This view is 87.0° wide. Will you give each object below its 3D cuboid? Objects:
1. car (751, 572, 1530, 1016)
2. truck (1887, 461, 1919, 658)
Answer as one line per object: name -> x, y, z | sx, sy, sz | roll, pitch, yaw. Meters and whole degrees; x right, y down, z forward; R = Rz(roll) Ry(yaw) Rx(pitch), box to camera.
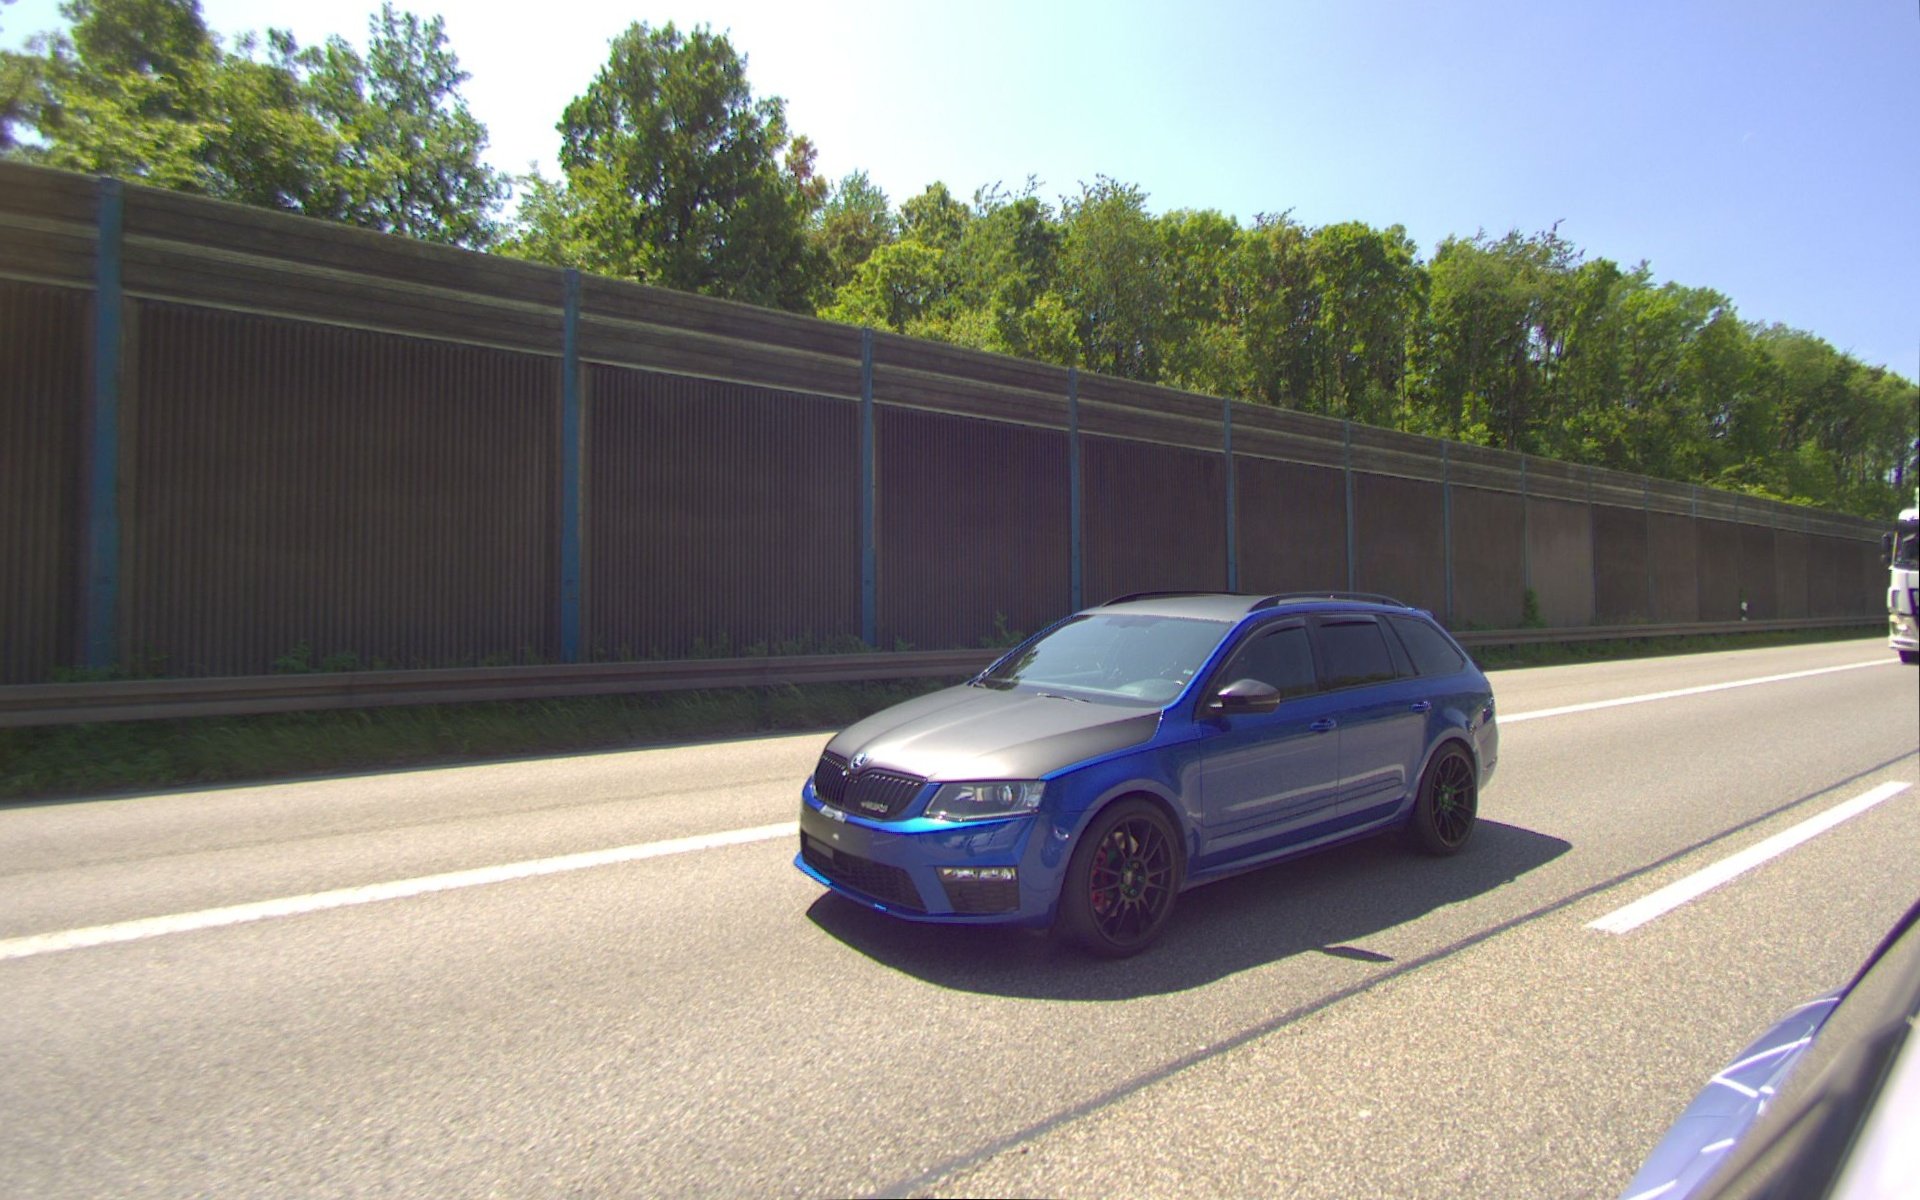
car -> 1.251, 0.627, 5.508 | 4.400, 1.501, 1.655 | -2, 1, -38
truck -> 23.658, -0.870, 22.920 | 5.758, 4.258, 2.794 | 0, 0, -36
